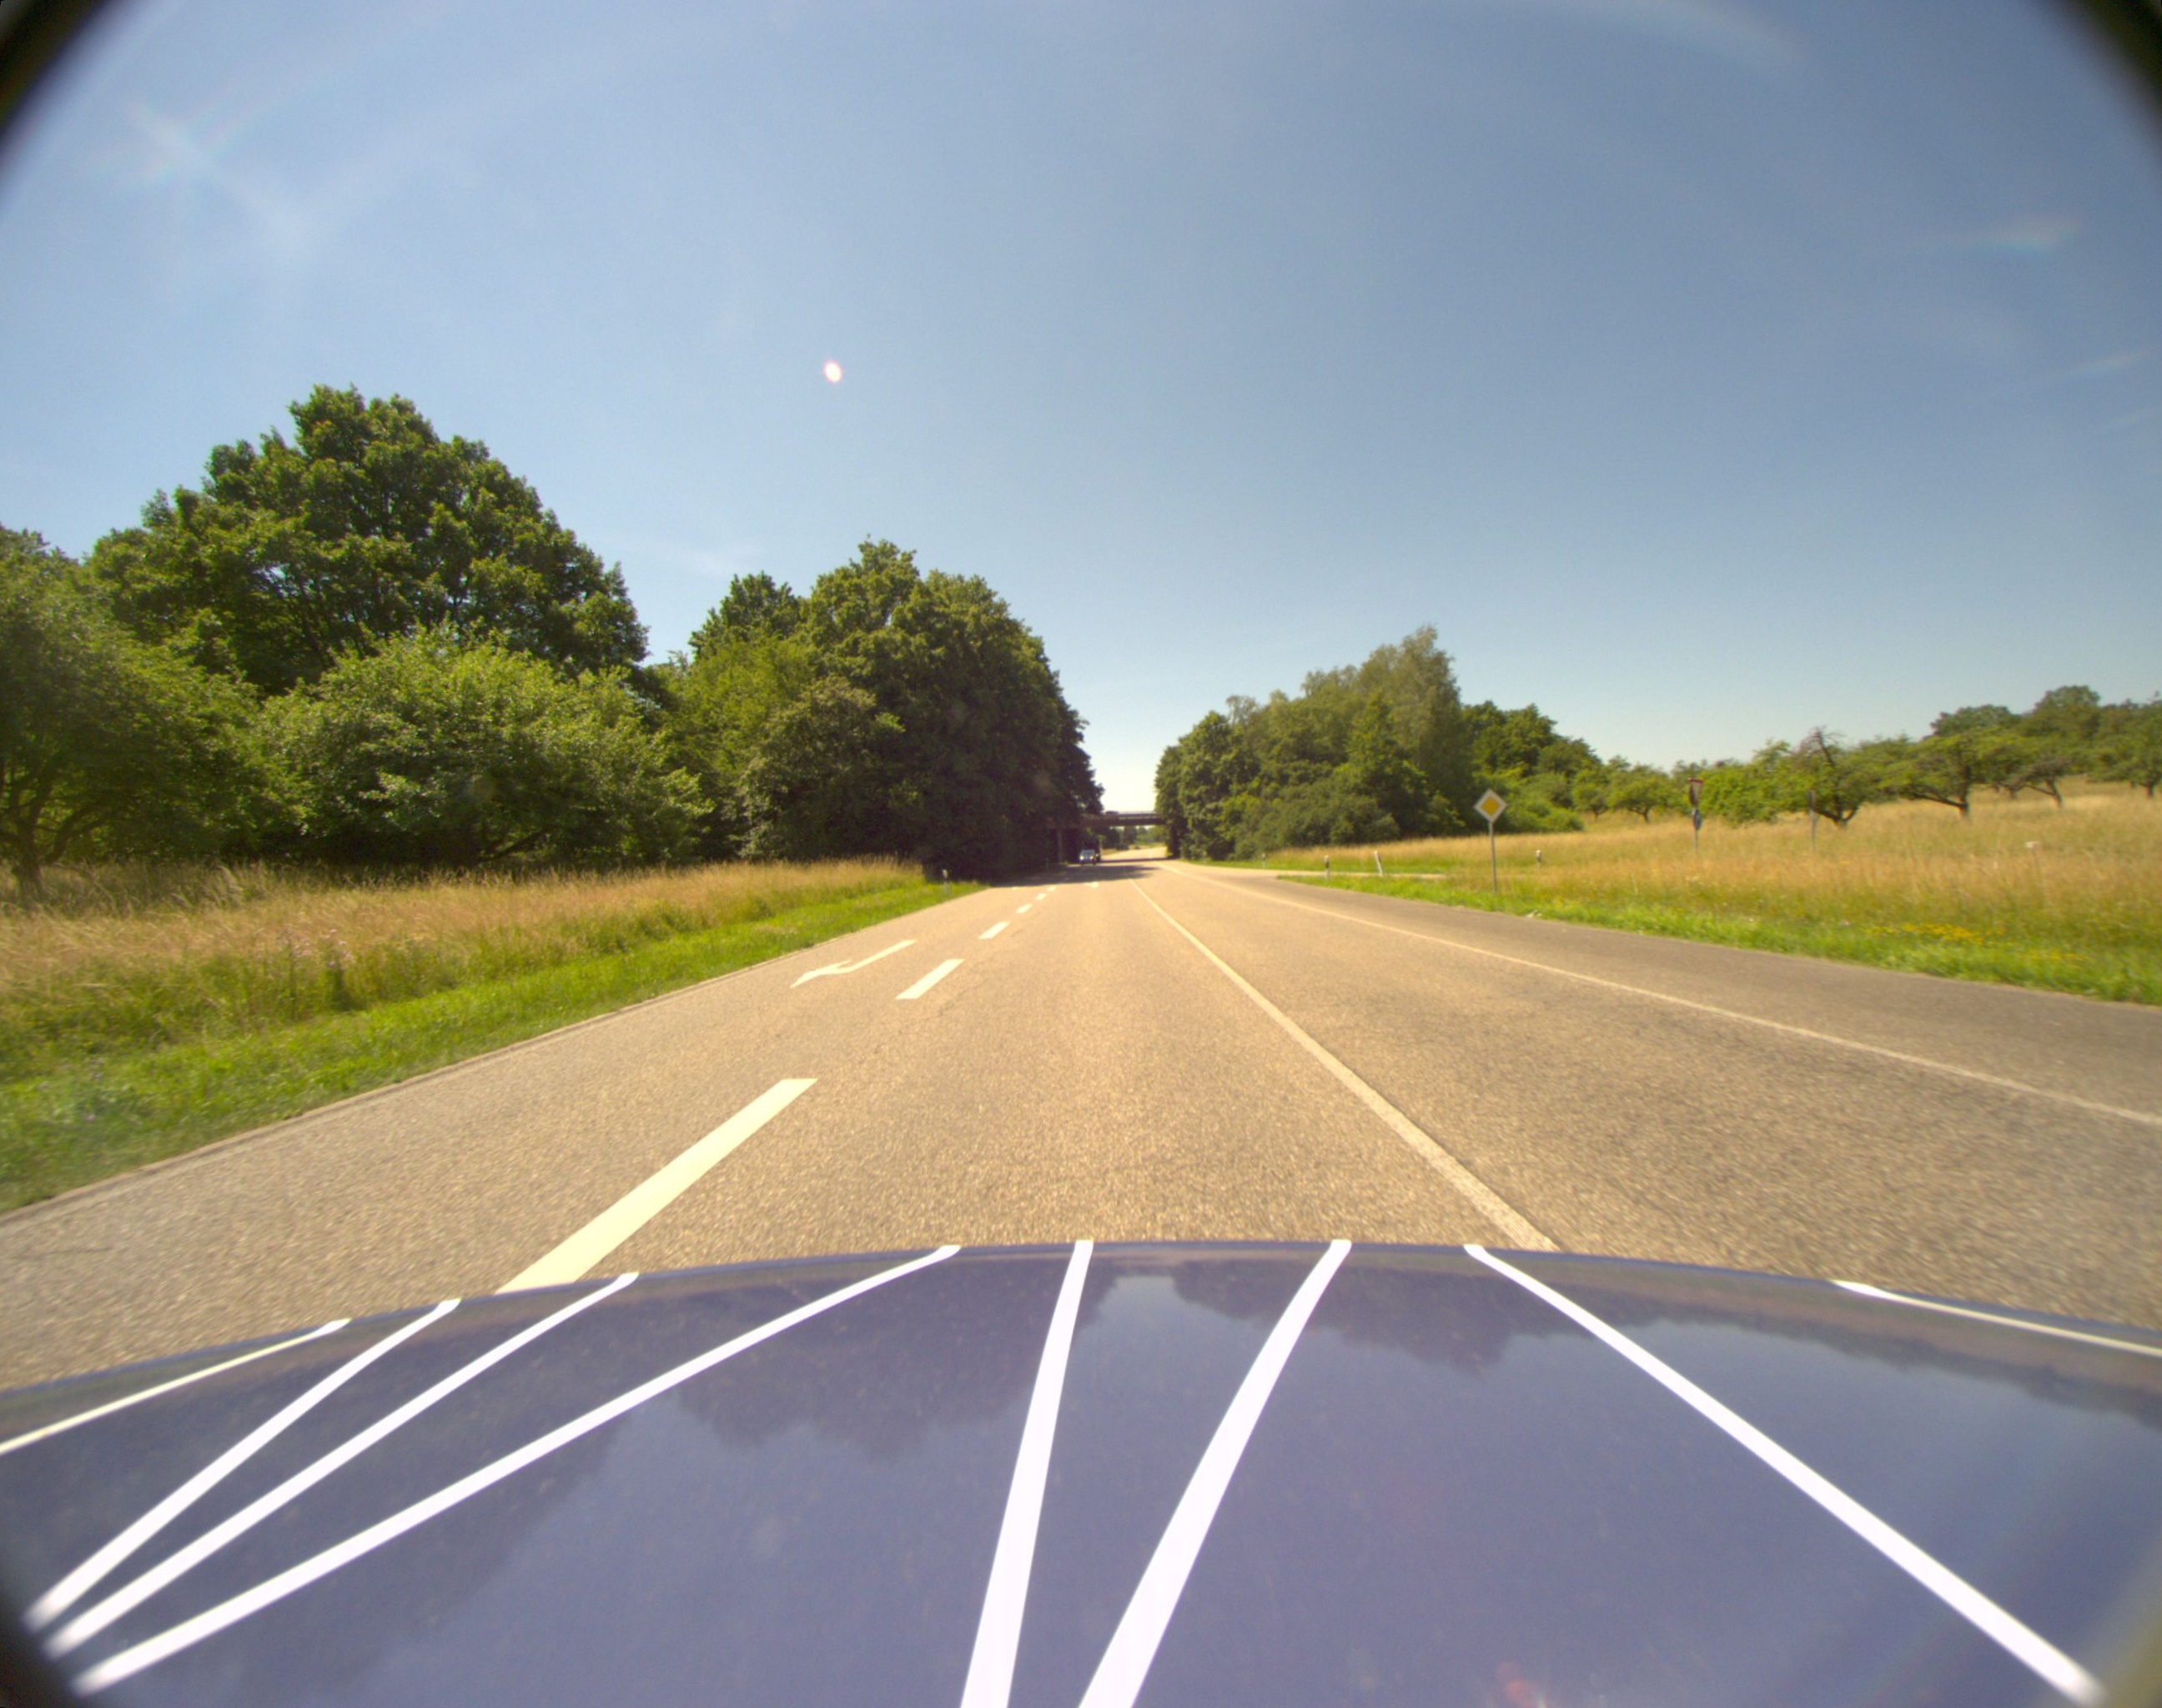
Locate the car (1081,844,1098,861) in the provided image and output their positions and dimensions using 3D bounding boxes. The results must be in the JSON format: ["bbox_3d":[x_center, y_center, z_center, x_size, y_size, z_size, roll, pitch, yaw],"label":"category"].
[{"bbox_3d":[0.994,-0.144,86.995,1.746,1.833,4.000,-2,1,2],"label":"car"}]

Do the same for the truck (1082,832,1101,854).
[{"bbox_3d":[1.538,-1.512,106.784,2.457,2.927,6.973,-2,1,1],"label":"truck"}]
